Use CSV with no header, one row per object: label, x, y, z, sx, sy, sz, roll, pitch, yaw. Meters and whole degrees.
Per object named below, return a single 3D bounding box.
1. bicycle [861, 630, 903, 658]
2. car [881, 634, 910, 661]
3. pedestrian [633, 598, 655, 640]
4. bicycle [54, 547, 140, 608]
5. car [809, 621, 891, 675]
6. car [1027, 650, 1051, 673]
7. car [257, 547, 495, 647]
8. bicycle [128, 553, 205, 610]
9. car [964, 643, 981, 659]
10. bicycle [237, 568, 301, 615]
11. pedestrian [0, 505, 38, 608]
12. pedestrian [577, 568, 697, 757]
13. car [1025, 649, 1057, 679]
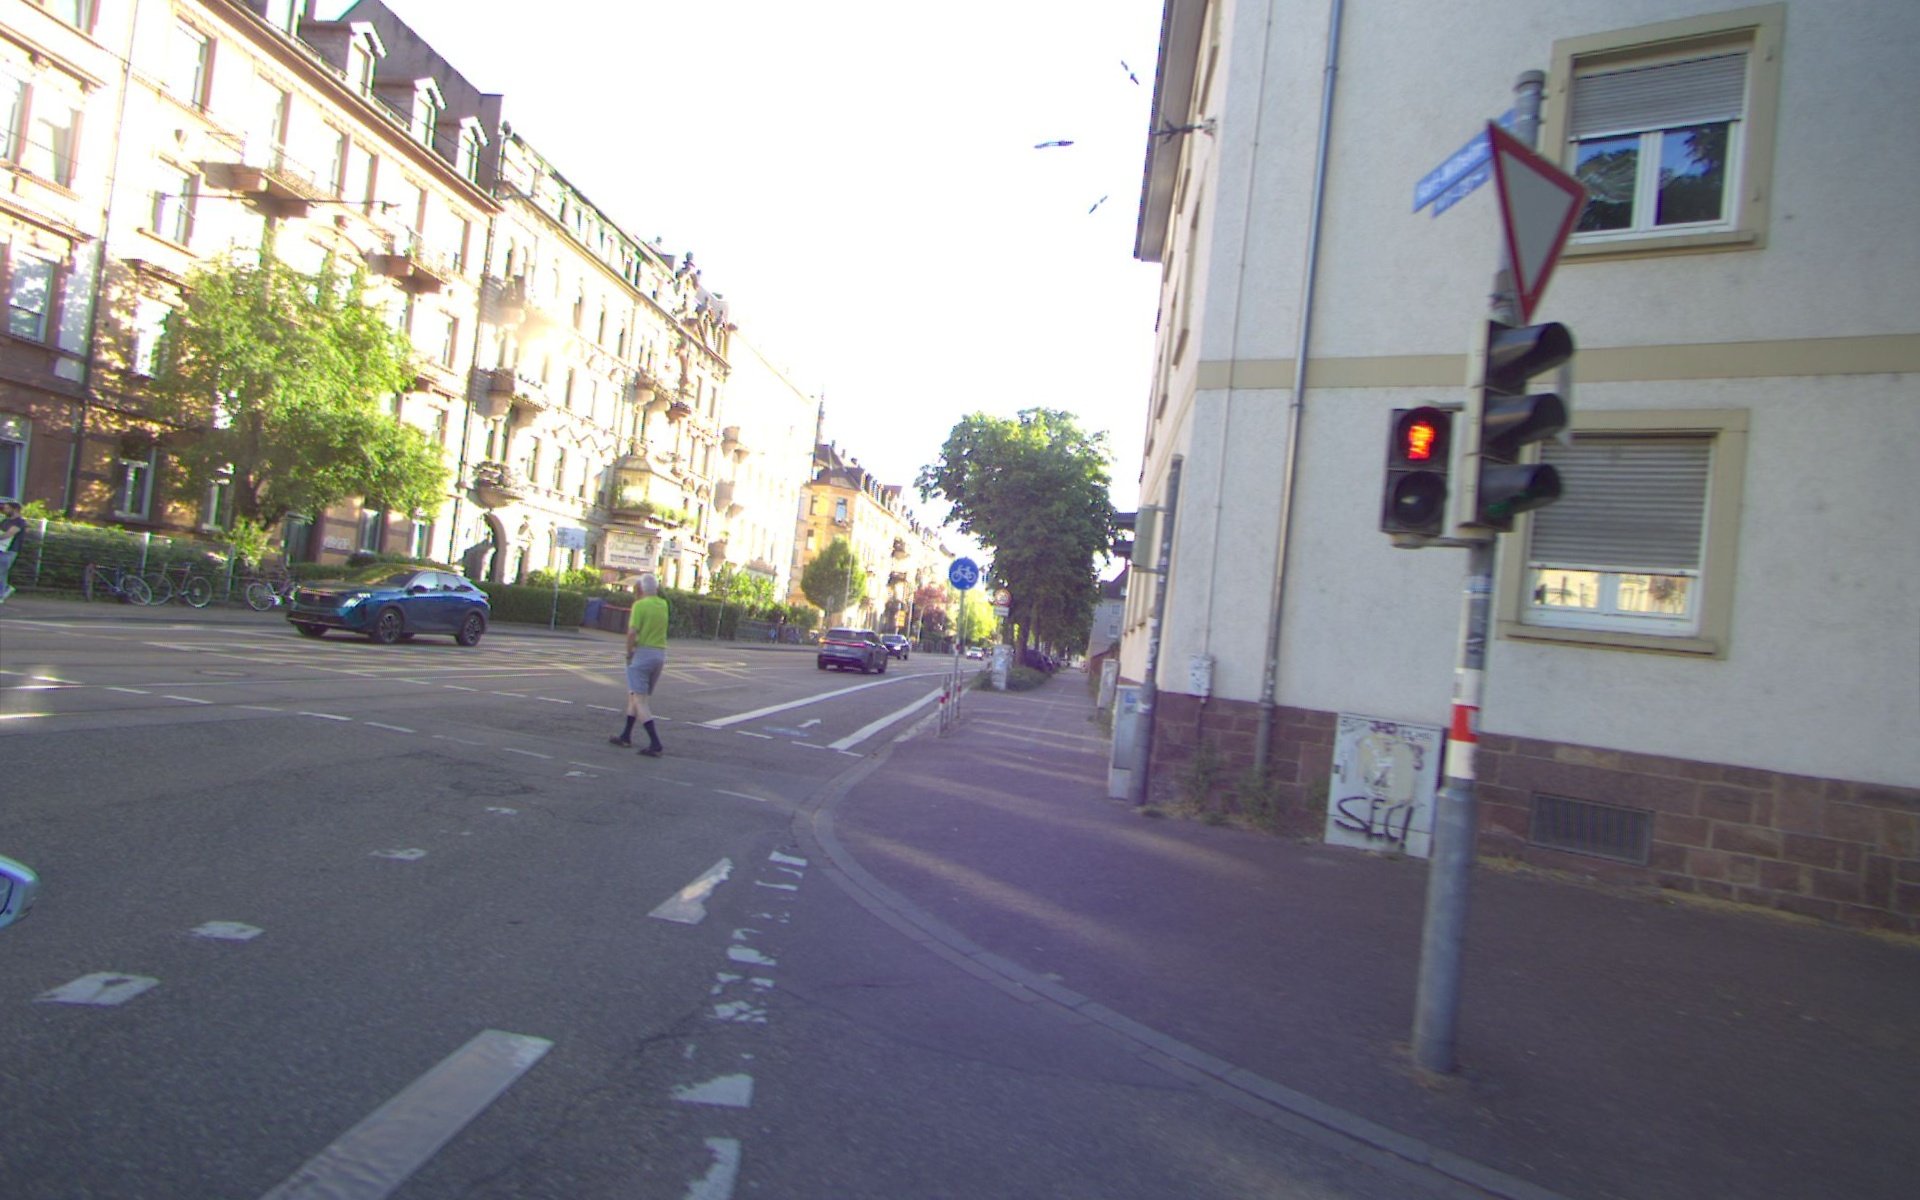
bicycle,-6.514,3.660,83.933,3.185,2.041,0.932,6,0,2
car,-4.201,3.087,65.932,1.508,1.542,3.479,6,-2,2
pedestrian,-12.801,0.767,40.731,0.516,1.660,0.495,6,-1,19
bicycle,-17.775,-0.457,20.741,0.435,1.120,1.235,7,-1,13
car,-3.804,1.687,35.736,1.939,1.604,4.479,6,-2,5
car,5.983,4.641,76.343,1.570,1.556,3.896,6,-2,4
car,-12.081,0.029,21.229,1.911,1.669,4.416,6,-2,8
bicycle,-17.430,-0.387,22.123,0.435,1.120,1.235,7,-1,13
car,1.477,5.986,117.921,1.570,1.629,3.604,6,-2,4
bicycle,-16.931,-0.196,24.680,0.435,1.050,1.235,7,-1,12
pedestrian,-16.789,-0.771,17.580,0.651,1.735,0.637,6,-1,20
pedestrian,-3.263,0.617,10.140,0.640,1.747,0.879,10,-2,-38
car,4.555,3.563,56.159,1.523,1.456,3.841,6,-2,6
